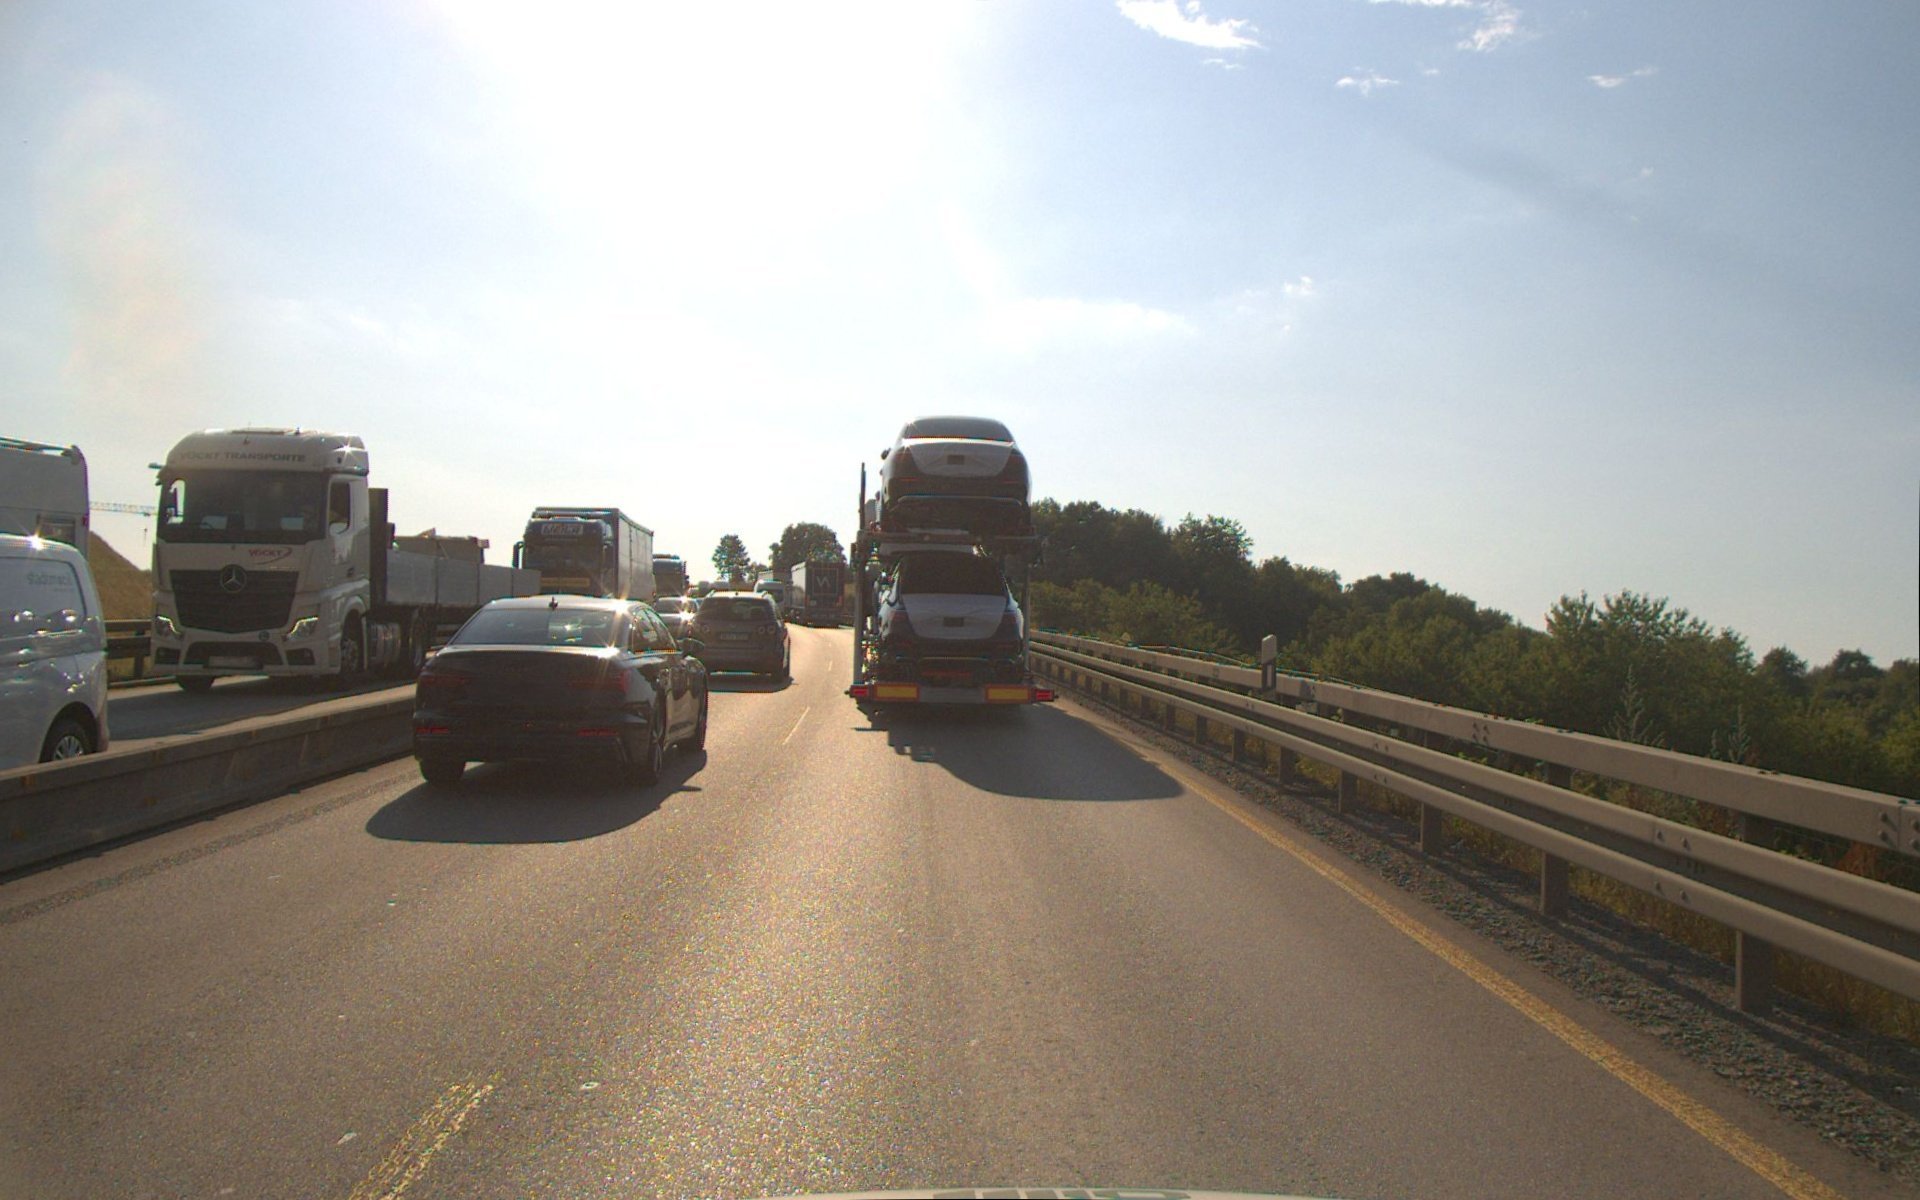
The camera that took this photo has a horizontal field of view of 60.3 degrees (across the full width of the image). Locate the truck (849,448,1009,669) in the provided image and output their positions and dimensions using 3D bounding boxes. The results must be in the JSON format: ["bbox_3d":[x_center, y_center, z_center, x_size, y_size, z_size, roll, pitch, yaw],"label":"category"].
[{"bbox_3d":[-0.863,-0.694,34.093,2.782,3.858,9.978,1,0,-4],"label":"truck"}]

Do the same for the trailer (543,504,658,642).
[{"bbox_3d":[-12.361,-0.784,58.064,2.262,4.203,14.582,1,0,-6],"label":"trailer"}]

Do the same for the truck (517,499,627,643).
[{"bbox_3d":[-11.716,-0.817,50.403,2.454,4.137,5.658,1,0,-5],"label":"truck"}]

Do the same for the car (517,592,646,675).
[{"bbox_3d":[-7.537,0.642,33.330,1.758,1.538,4.583,1,0,-3],"label":"car"}]

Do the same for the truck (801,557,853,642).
[{"bbox_3d":[-8.900,-0.016,109.639,3.222,5.328,9.923,1,0,-6],"label":"truck"}]

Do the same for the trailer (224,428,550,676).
[{"bbox_3d":[-10.526,-0.697,32.396,2.470,3.790,13.965,1,0,-4],"label":"trailer"}]

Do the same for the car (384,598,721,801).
[{"bbox_3d":[-3.282,0.712,14.360,1.896,1.423,4.958,1,0,-3],"label":"car"}]

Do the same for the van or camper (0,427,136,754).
[{"bbox_3d":[-9.752,-0.103,13.670,2.360,2.942,7.613,1,0,-3],"label":"van or camper"}]

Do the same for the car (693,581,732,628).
[{"bbox_3d":[-14.156,0.273,94.759,2.018,2.544,6.764,1,0,-7],"label":"car"}]

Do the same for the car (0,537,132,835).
[{"bbox_3d":[-6.375,0.488,9.037,1.722,1.725,4.449,1,0,-4],"label":"car"}]

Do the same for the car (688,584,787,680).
[{"bbox_3d":[-4.018,0.564,30.342,1.659,1.624,3.995,1,0,-6],"label":"car"}]

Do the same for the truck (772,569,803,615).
[{"bbox_3d":[-14.530,-0.650,139.251,2.482,3.712,8.894,1,0,-6],"label":"truck"}]

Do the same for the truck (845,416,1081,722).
[{"bbox_3d":[-0.272,-0.330,24.675,2.743,3.558,10.597,1,0,-3],"label":"truck"}]

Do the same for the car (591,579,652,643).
[{"bbox_3d":[-14.474,0.477,70.978,2.117,2.602,5.579,1,0,-7],"label":"car"}]

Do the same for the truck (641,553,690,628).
[{"bbox_3d":[-16.976,-0.511,95.568,2.456,4.137,5.874,1,0,-7],"label":"truck"}]

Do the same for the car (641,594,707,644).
[{"bbox_3d":[-9.167,0.595,53.270,1.724,1.534,4.250,1,0,-5],"label":"car"}]

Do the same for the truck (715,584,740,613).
[{"bbox_3d":[-26.383,-0.125,187.909,2.541,3.226,6.666,1,0,-7],"label":"truck"}]

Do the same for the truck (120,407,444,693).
[{"bbox_3d":[-10.139,-0.649,25.521,2.549,3.820,6.513,1,0,-3],"label":"truck"}]

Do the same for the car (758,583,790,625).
[{"bbox_3d":[-11.639,0.242,103.609,1.884,2.536,5.402,1,0,-6],"label":"car"}]
